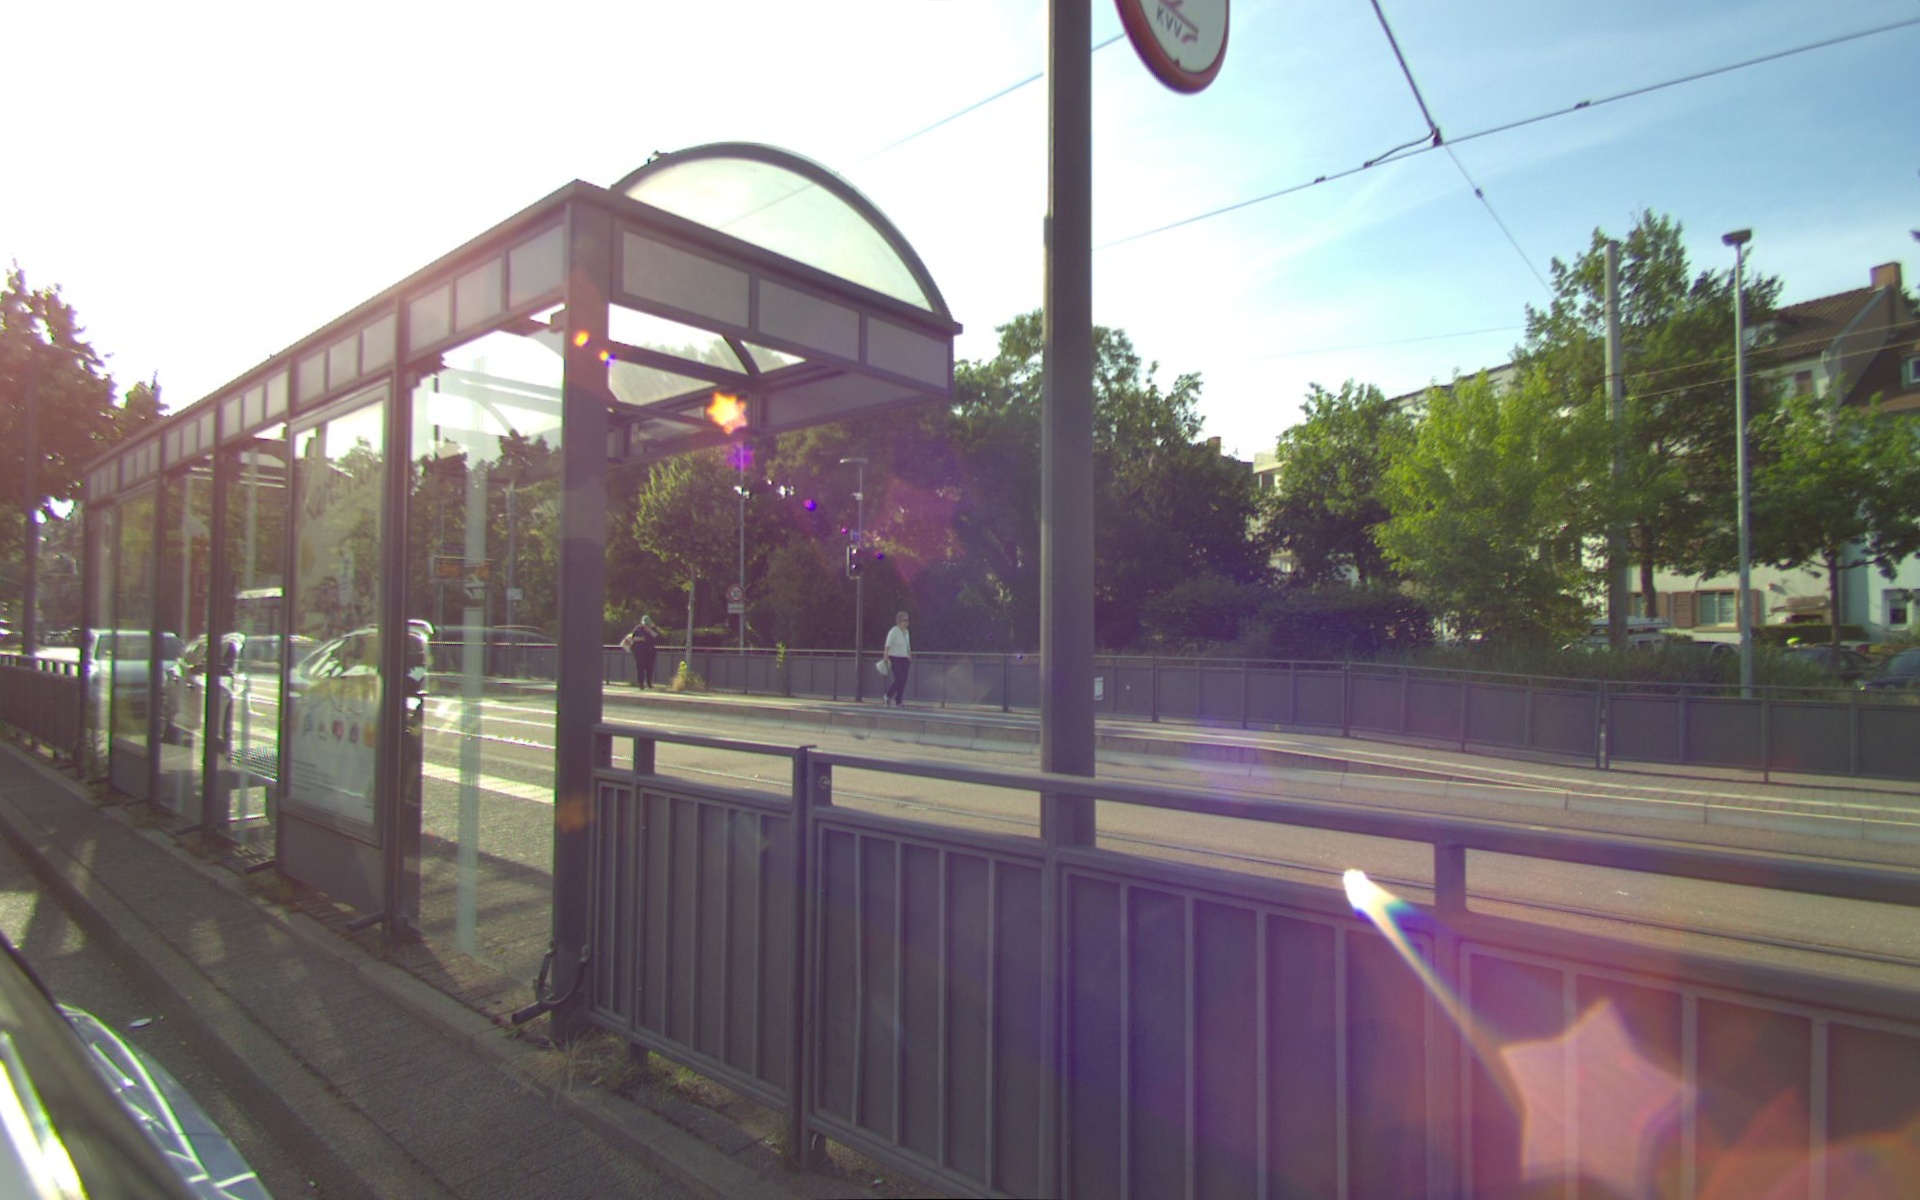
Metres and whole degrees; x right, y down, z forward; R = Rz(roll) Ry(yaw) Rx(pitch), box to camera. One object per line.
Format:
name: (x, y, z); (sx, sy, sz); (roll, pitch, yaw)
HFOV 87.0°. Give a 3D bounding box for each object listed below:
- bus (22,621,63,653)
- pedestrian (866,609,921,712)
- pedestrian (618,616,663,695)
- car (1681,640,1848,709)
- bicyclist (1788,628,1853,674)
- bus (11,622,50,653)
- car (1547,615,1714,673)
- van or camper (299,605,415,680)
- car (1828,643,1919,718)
bus: (-102.757, 4.074, 113.275); (9.258, 3.461, 2.405); (-1, 0, 41)
pedestrian: (-1.128, 1.037, 17.212); (0.618, 1.697, 0.613); (-2, -6, 41)
pedestrian: (-7.113, 1.236, 22.523); (0.618, 1.697, 0.613); (-2, -6, 41)
car: (18.185, 1.626, 22.836); (3.935, 1.409, 2.004); (2, -3, -37)
bicyclist: (24.320, 1.443, 28.612); (0.752, 1.271, 1.178); (2, -3, -27)
bus: (-109.697, 4.410, 119.413); (9.258, 3.461, 2.405); (-1, 0, 41)
car: (18.175, 1.200, 27.466); (3.930, 1.497, 1.854); (1, -3, -22)
van or camper: (-26.209, 1.749, 43.902); (6.408, 2.990, 2.494); (-1, 0, 41)
car: (19.599, 1.603, 20.678); (3.935, 1.409, 2.004); (2, -3, -37)
